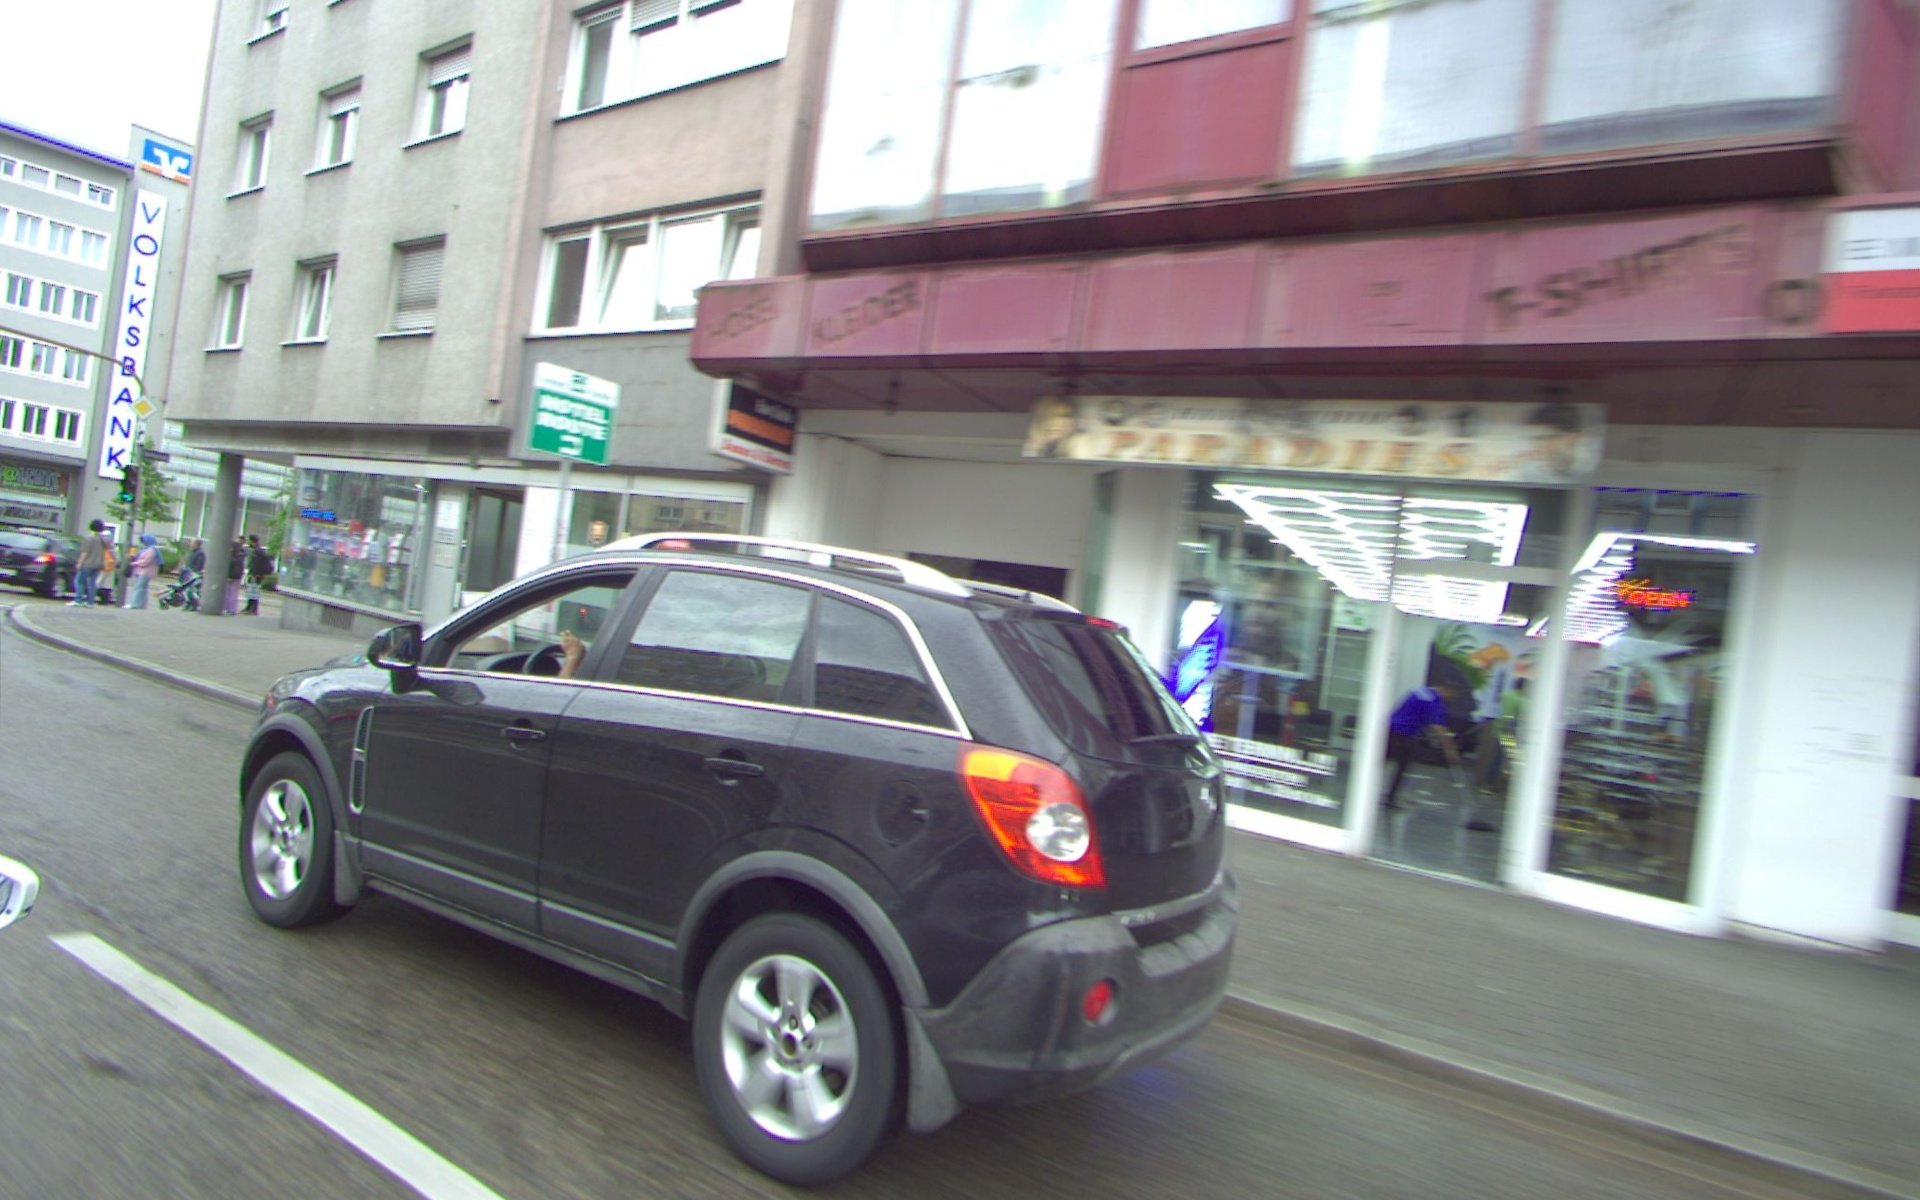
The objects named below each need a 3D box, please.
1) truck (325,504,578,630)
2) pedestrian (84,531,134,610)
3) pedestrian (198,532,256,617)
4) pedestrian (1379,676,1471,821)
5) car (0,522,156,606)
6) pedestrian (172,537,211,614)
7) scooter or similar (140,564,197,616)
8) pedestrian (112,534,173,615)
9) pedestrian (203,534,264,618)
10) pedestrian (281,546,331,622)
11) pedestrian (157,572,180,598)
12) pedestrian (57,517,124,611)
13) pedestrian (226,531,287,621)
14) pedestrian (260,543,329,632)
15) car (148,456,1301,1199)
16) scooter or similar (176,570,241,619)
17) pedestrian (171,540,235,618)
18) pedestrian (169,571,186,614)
[{"bbox_3d":[-24.825,-1.417,49.986,2.811,4.380,10.755,7,-4,35],"label":"truck"},{"bbox_3d":[-18.382,-0.627,21.730,0.825,1.657,0.539,2,-1,31],"label":"pedestrian"},{"bbox_3d":[-17.076,-0.577,23.434,0.648,1.887,0.835,2,-1,36],"label":"pedestrian"},{"bbox_3d":[5.110,1.608,11.047,0.692,1.446,0.710,7,-1,31],"label":"pedestrian"},{"bbox_3d":[-21.710,-0.845,24.203,1.927,1.590,3.993,11,-3,-13],"label":"car"},{"bbox_3d":[-19.450,-0.606,25.470,0.613,1.889,0.778,5,-3,-43],"label":"pedestrian"},{"bbox_3d":[-18.934,-0.226,24.068,0.965,1.122,0.648,7,-1,-39],"label":"scooter or similar"},{"bbox_3d":[-17.608,-0.534,21.677,0.734,1.654,0.595,4,-2,-17],"label":"pedestrian"},{"bbox_3d":[-16.012,-0.516,22.181,0.609,1.742,0.835,3,-3,39],"label":"pedestrian"},{"bbox_3d":[-14.639,-0.355,22.511,0.826,1.657,0.615,3,0,36],"label":"pedestrian"},{"bbox_3d":[-18.949,-0.355,24.081,0.369,0.578,0.453,6,-1,-39],"label":"pedestrian"},{"bbox_3d":[-16.765,-0.683,19.417,0.619,1.712,0.778,6,-2,-23],"label":"pedestrian"},{"bbox_3d":[-16.282,-0.546,23.272,0.722,1.954,0.817,5,-2,40],"label":"pedestrian"},{"bbox_3d":[-15.226,-0.277,23.029,0.822,1.886,0.667,8,-3,11],"label":"pedestrian"},{"bbox_3d":[-1.083,0.602,4.092,4.228,1.807,1.911,8,0,29],"label":"car"},{"bbox_3d":[-16.831,-0.125,22.522,1.031,0.997,0.771,3,-3,31],"label":"scooter or similar"},{"bbox_3d":[-18.417,-0.513,24.471,1.032,1.743,0.829,7,-1,-42],"label":"pedestrian"},{"bbox_3d":[-19.149,-0.185,24.615,0.259,1.012,0.468,3,1,-35],"label":"pedestrian"}]
